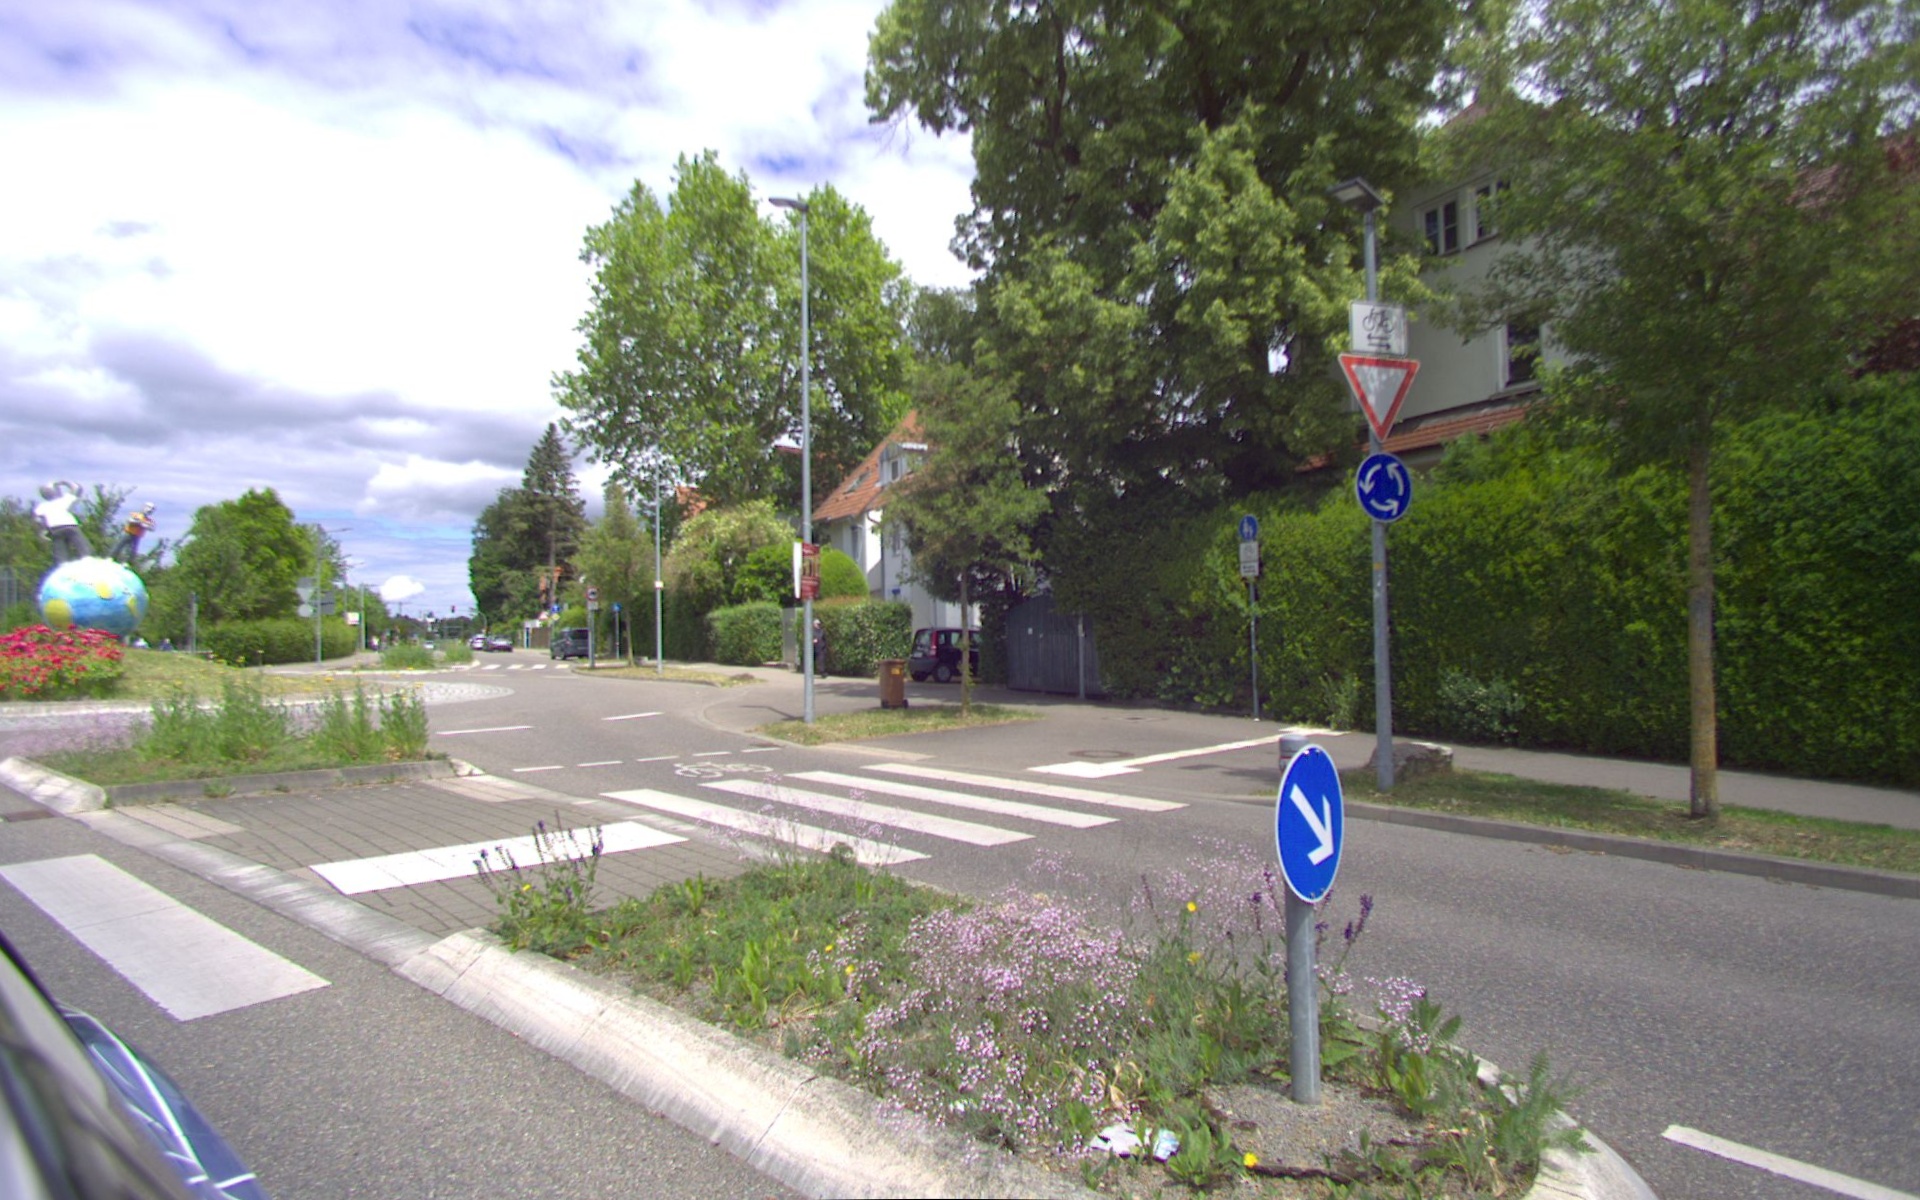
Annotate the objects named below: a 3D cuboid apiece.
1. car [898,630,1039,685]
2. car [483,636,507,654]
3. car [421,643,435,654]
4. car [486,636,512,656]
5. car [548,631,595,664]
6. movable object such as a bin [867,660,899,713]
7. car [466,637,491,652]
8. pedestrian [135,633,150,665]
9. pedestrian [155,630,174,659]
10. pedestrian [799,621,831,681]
[{"bbox_3d":[0.245,1.597,28.043,3.517,1.408,1.671,3,-3,-28],"label":"car"},{"bbox_3d":[-43.279,4.185,94.091,1.757,1.589,4.013,-1,-1,-28],"label":"car"},{"bbox_3d":[-83.875,7.590,159.574,1.965,1.719,4.012,1,-2,-28],"label":"car"},{"bbox_3d":[-40.700,4.043,89.294,1.831,1.589,4.013,-1,-1,-28],"label":"car"},{"bbox_3d":[-21.257,2.560,55.281,1.653,1.674,4.011,1,-2,-33],"label":"car"},{"bbox_3d":[-1.411,1.578,18.490,0.411,0.942,0.436,-1,-3,33],"label":"movable object such as a bin"},{"bbox_3d":[-55.548,5.154,116.729,1.966,1.719,4.011,2,-3,-33],"label":"car"},{"bbox_3d":[-44.313,2.654,54.884,0.598,1.710,0.567,1,-2,-42],"label":"pedestrian"},{"bbox_3d":[-43.757,2.439,55.691,0.753,1.569,0.602,2,-3,-44],"label":"pedestrian"},{"bbox_3d":[-4.267,1.481,29.779,0.733,1.704,0.697,-1,-1,-27],"label":"pedestrian"}]
